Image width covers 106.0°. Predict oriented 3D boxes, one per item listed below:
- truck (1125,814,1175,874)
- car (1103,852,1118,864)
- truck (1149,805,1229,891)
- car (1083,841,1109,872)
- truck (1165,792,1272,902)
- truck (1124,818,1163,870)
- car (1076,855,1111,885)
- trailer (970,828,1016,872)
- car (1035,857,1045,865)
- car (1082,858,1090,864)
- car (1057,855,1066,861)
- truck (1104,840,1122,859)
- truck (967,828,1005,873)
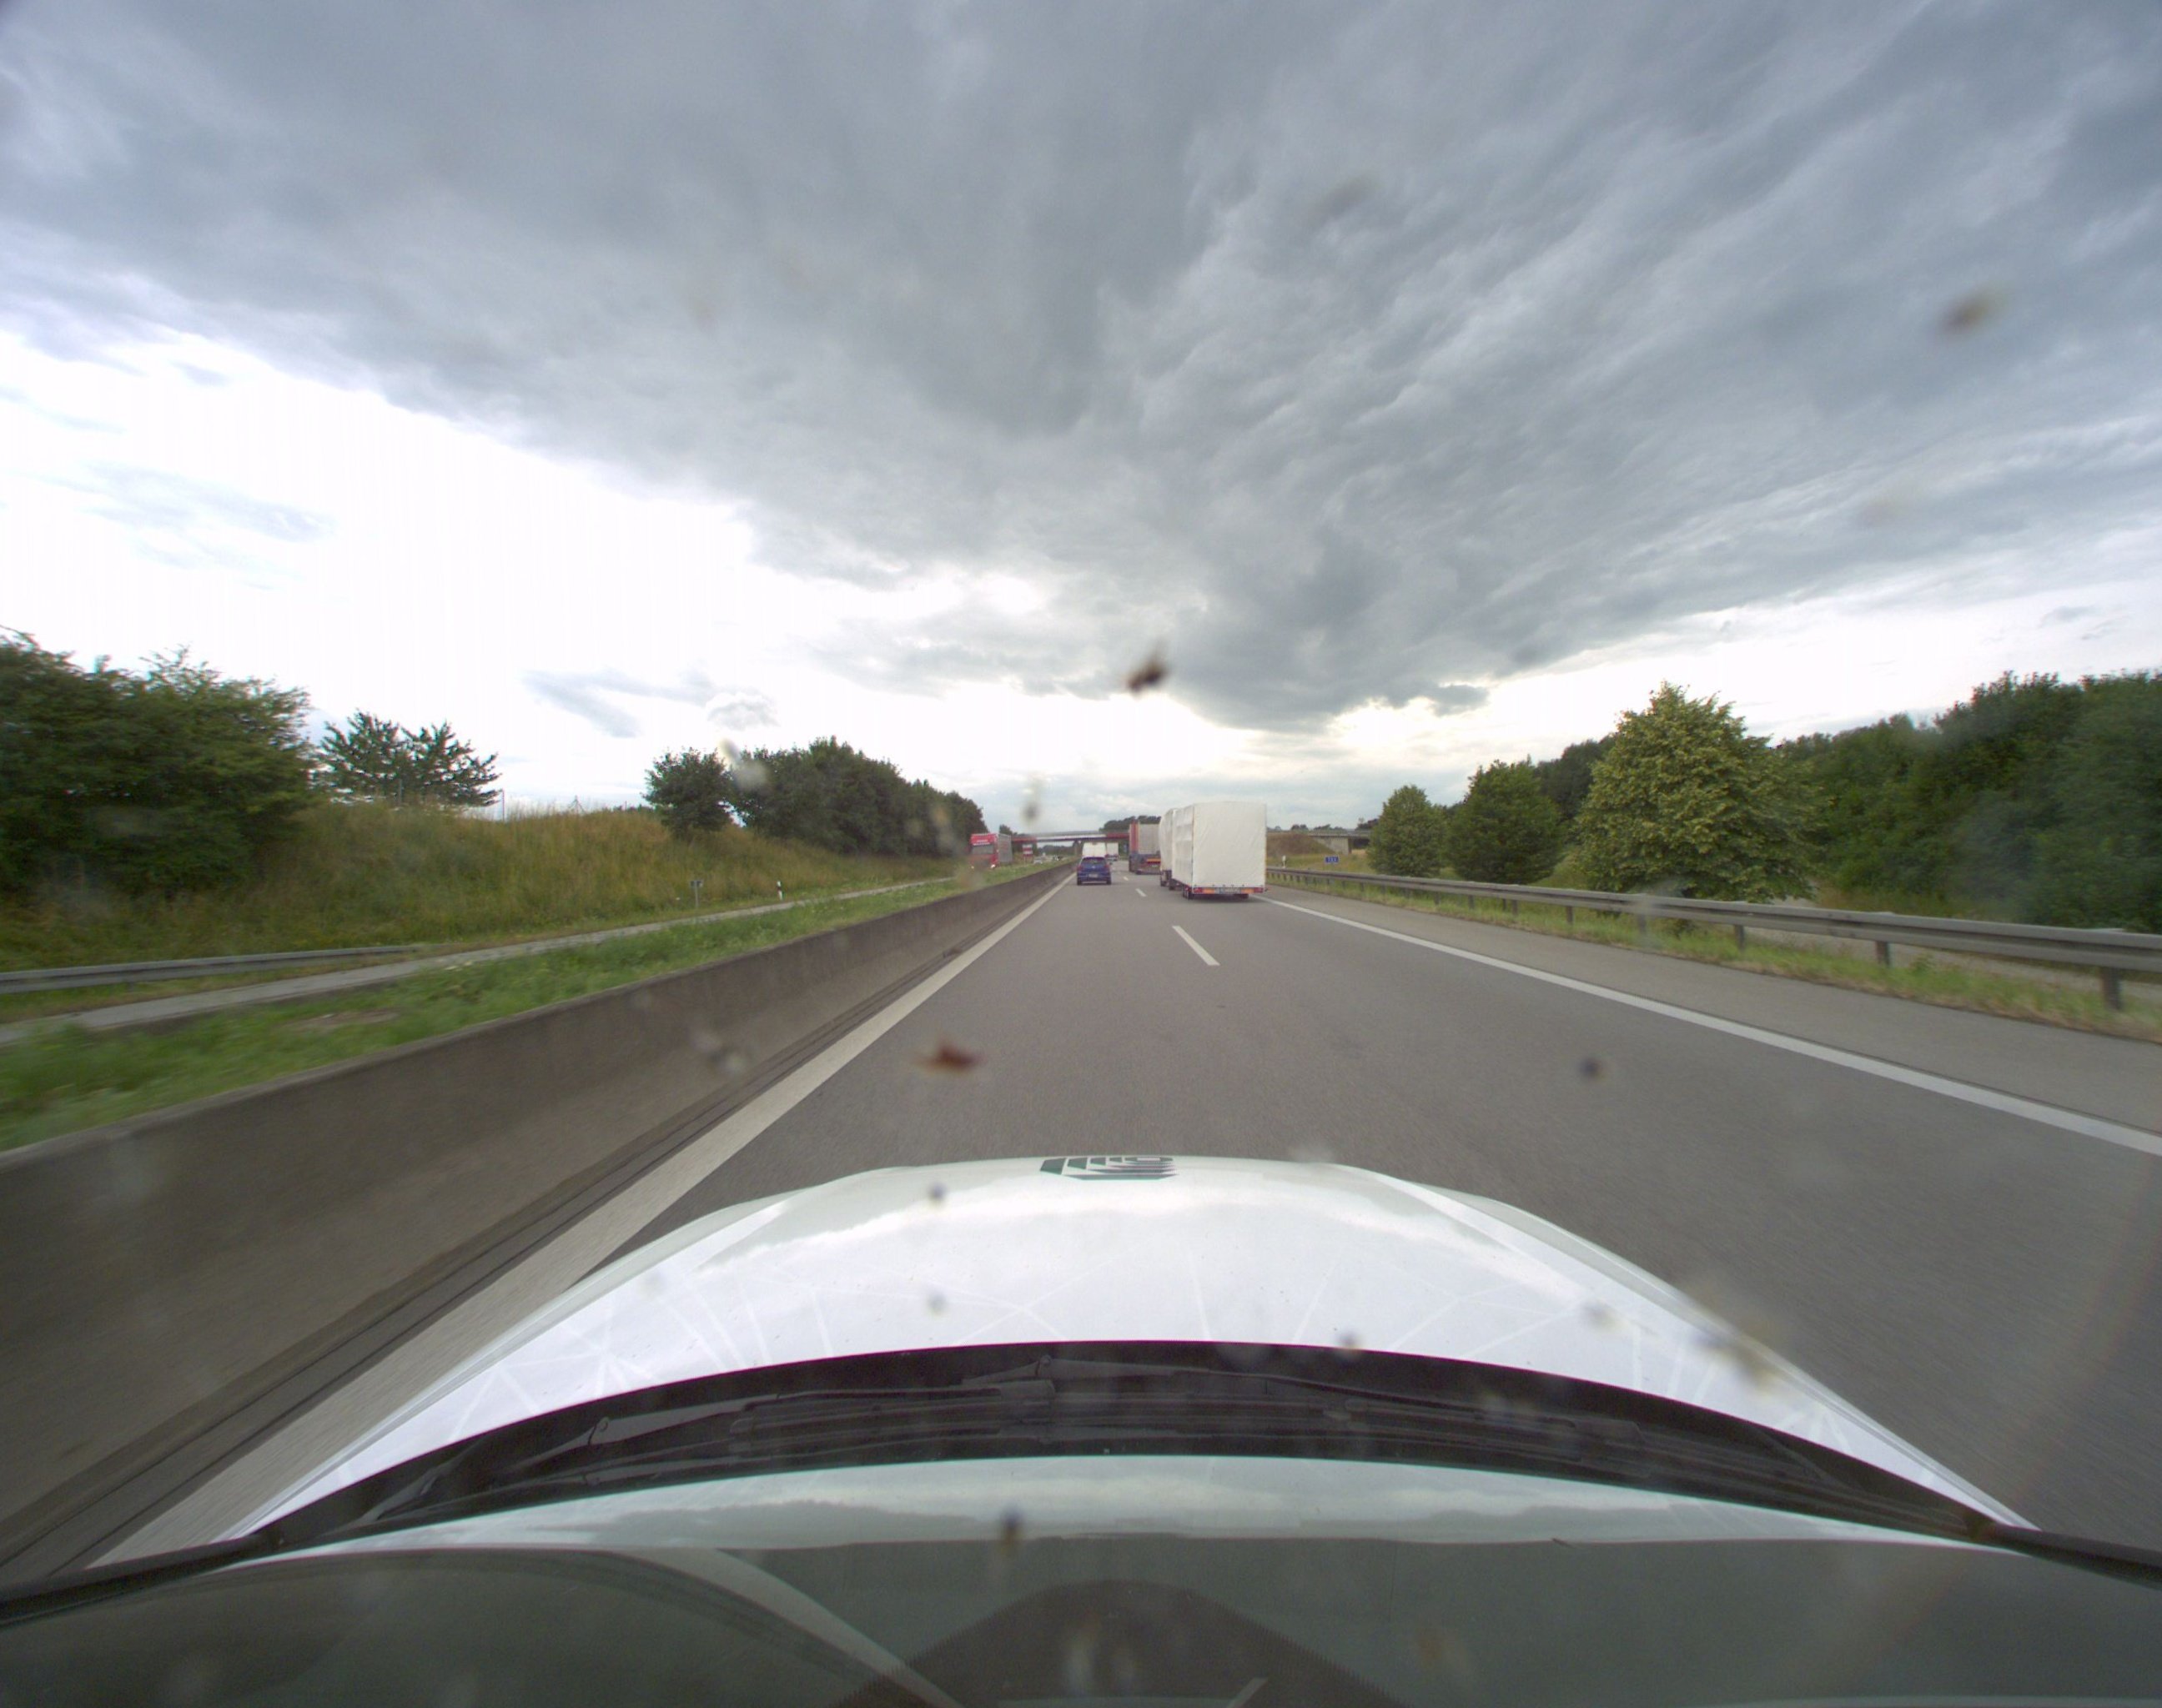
[{"bbox_3d":[5.109,-0.748,62.362,2.665,4.045,11.105,-2,0,0],"label":"truck"},{"bbox_3d":[3.609,0.434,99.315,1.658,1.407,3.648,-1,0,0],"label":"car"},{"bbox_3d":[4.469,-0.218,34.918,2.422,3.243,7.246,-1,0,0],"label":"truck"},{"bbox_3d":[1.275,0.207,70.658,2.123,2.482,5.840,-2,0,1],"label":"car"},{"bbox_3d":[4.448,-0.203,27.712,2.407,3.222,7.142,-1,0,0],"label":"truck"},{"bbox_3d":[5.112,-0.795,67.761,2.665,4.045,5.511,-2,0,0],"label":"truck"},{"bbox_3d":[0.644,0.766,41.298,1.658,1.407,3.649,-1,0,1],"label":"car"},{"bbox_3d":[-9.105,-0.416,86.047,2.697,4.088,14.600,-4,0,1],"label":"trailer"},{"bbox_3d":[-8.084,1.440,160.291,1.641,1.409,3.887,-4,0,0],"label":"car"},{"bbox_3d":[1.396,1.841,219.838,1.987,1.684,4.000,-1,0,0],"label":"car"},{"bbox_3d":[-4.853,0.928,205.025,1.842,1.378,4.601,-4,0,1],"label":"car"},{"bbox_3d":[6.805,-0.922,176.161,3.102,3.689,9.318,-4,0,-1],"label":"truck"},{"bbox_3d":[-9.204,-0.320,79.119,2.697,4.088,5.165,-4,0,1],"label":"truck"}]
